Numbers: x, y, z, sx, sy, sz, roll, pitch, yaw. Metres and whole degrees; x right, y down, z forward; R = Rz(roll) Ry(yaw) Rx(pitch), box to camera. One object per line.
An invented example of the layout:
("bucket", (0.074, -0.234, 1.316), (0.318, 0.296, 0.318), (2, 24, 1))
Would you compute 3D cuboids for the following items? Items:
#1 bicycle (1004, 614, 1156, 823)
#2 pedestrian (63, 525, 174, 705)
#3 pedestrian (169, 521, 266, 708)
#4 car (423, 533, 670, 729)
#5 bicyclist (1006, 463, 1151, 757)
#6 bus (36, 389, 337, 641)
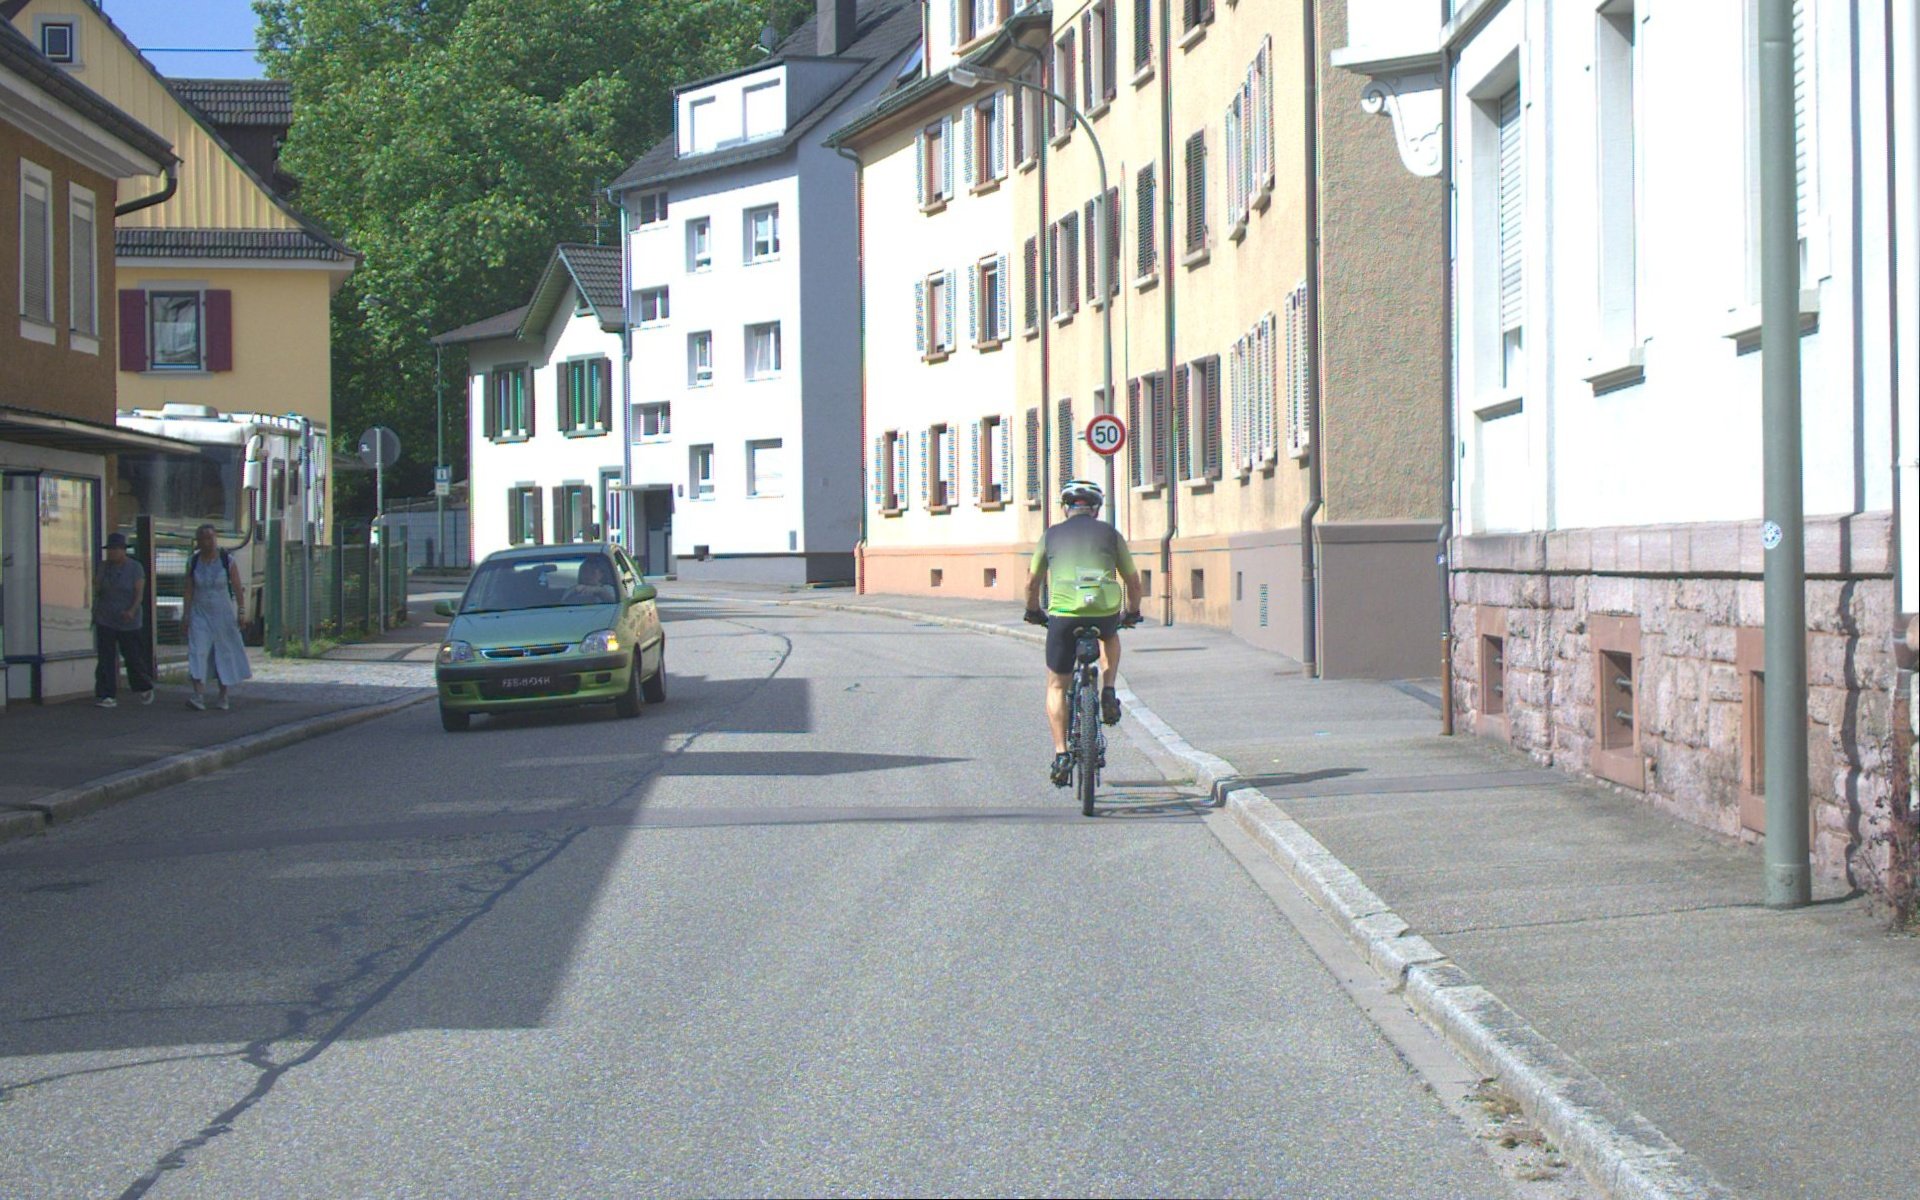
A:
("bicycle", (0.627, 0.613, 18.459), (0.698, 1.032, 1.471), (0, 1, -3))
("pedestrian", (-7.511, 0.126, 30.719), (0.735, 1.559, 0.824), (2, 1, 0))
("pedestrian", (-6.617, 0.118, 30.650), (0.639, 1.621, 0.777), (2, 1, -1))
("car", (-3.440, 0.210, 29.176), (1.596, 1.459, 3.660), (-4, 1, 0))
("bicyclist", (0.629, 0.048, 18.395), (0.685, 1.526, 0.716), (-1, 1, -2))
("bus", (-10.824, -1.197, 49.004), (2.820, 3.217, 9.037), (1, 1, -4))
